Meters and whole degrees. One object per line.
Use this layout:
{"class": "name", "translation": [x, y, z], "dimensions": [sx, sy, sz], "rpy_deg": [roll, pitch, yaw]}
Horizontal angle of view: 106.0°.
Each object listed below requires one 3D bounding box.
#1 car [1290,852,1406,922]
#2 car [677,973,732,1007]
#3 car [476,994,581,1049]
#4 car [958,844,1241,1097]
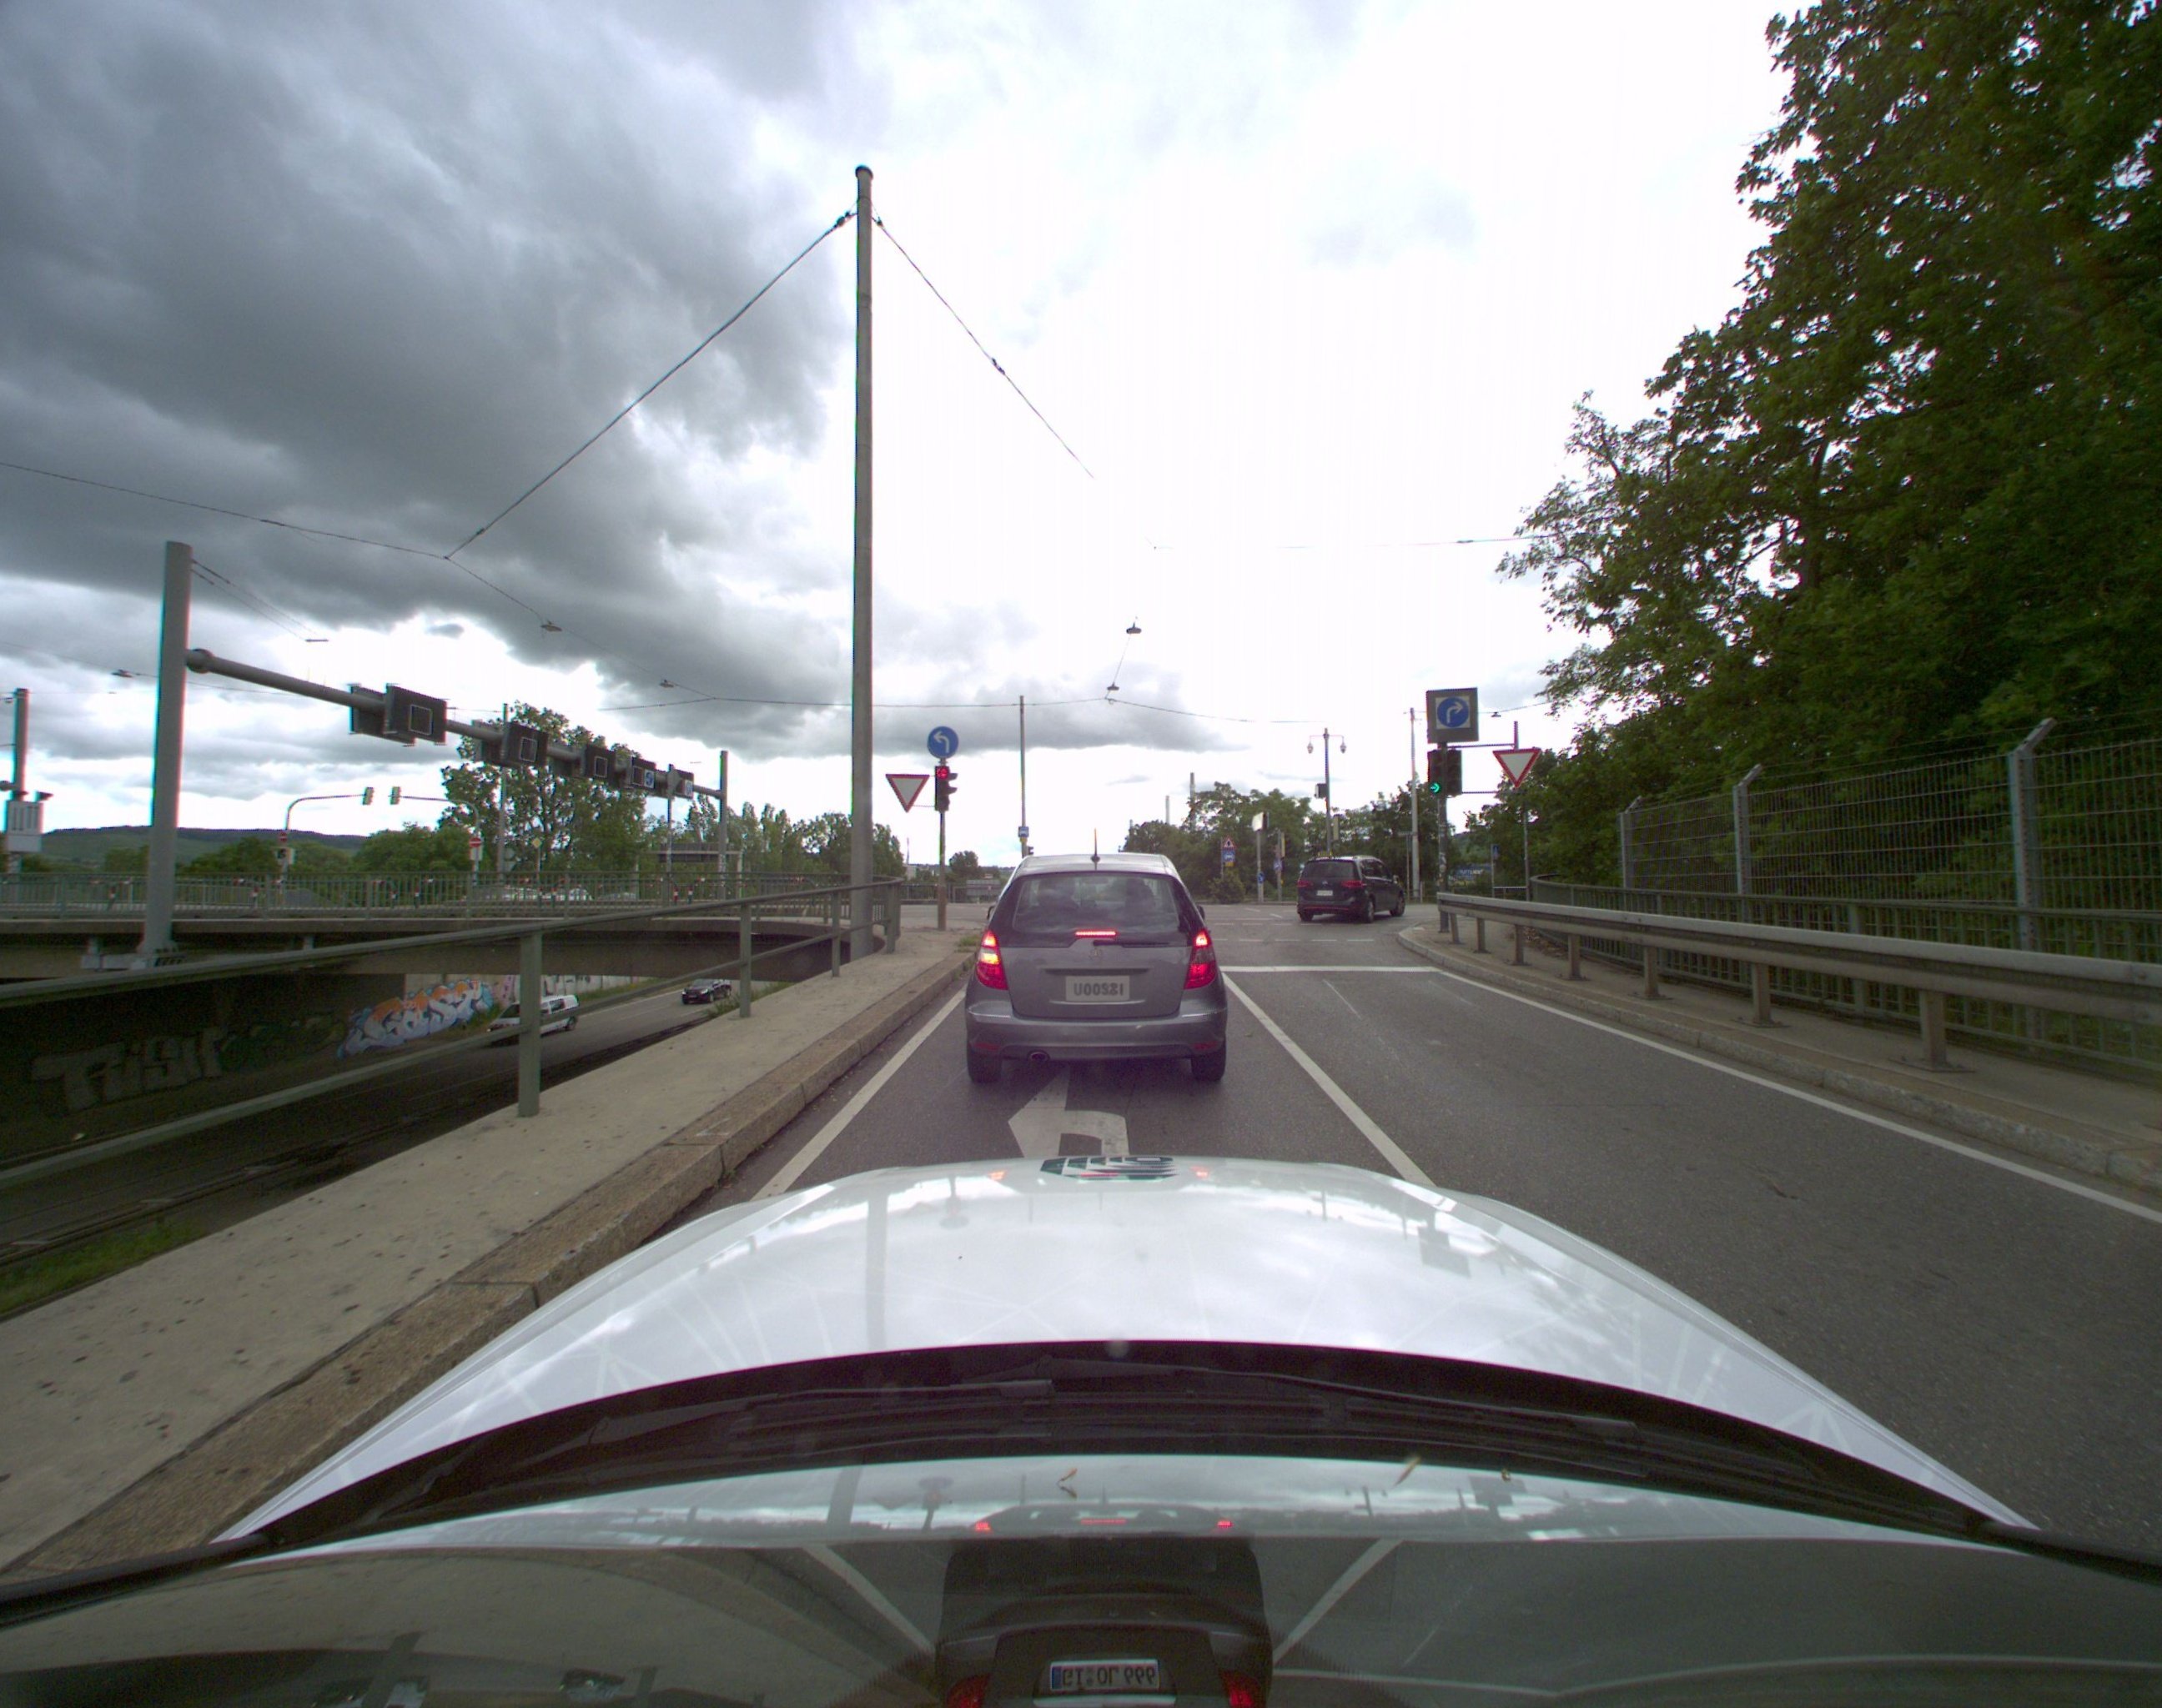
{"class": "car", "translation": [7.066, 0.788, 21.275], "dimensions": [1.779, 1.653, 4.177], "rpy_deg": [-1, -1, 34]}
{"class": "car", "translation": [-24.733, 8.914, 53.641], "dimensions": [1.659, 1.621, 4.001], "rpy_deg": [-3, -3, 2]}
{"class": "car", "translation": [-27.856, 8.392, 41.281], "dimensions": [1.941, 1.908, 4.909], "rpy_deg": [-2, -3, 0]}
{"class": "car", "translation": [0.172, 0.730, 6.784], "dimensions": [1.733, 1.543, 3.542], "rpy_deg": [0, -1, 2]}
